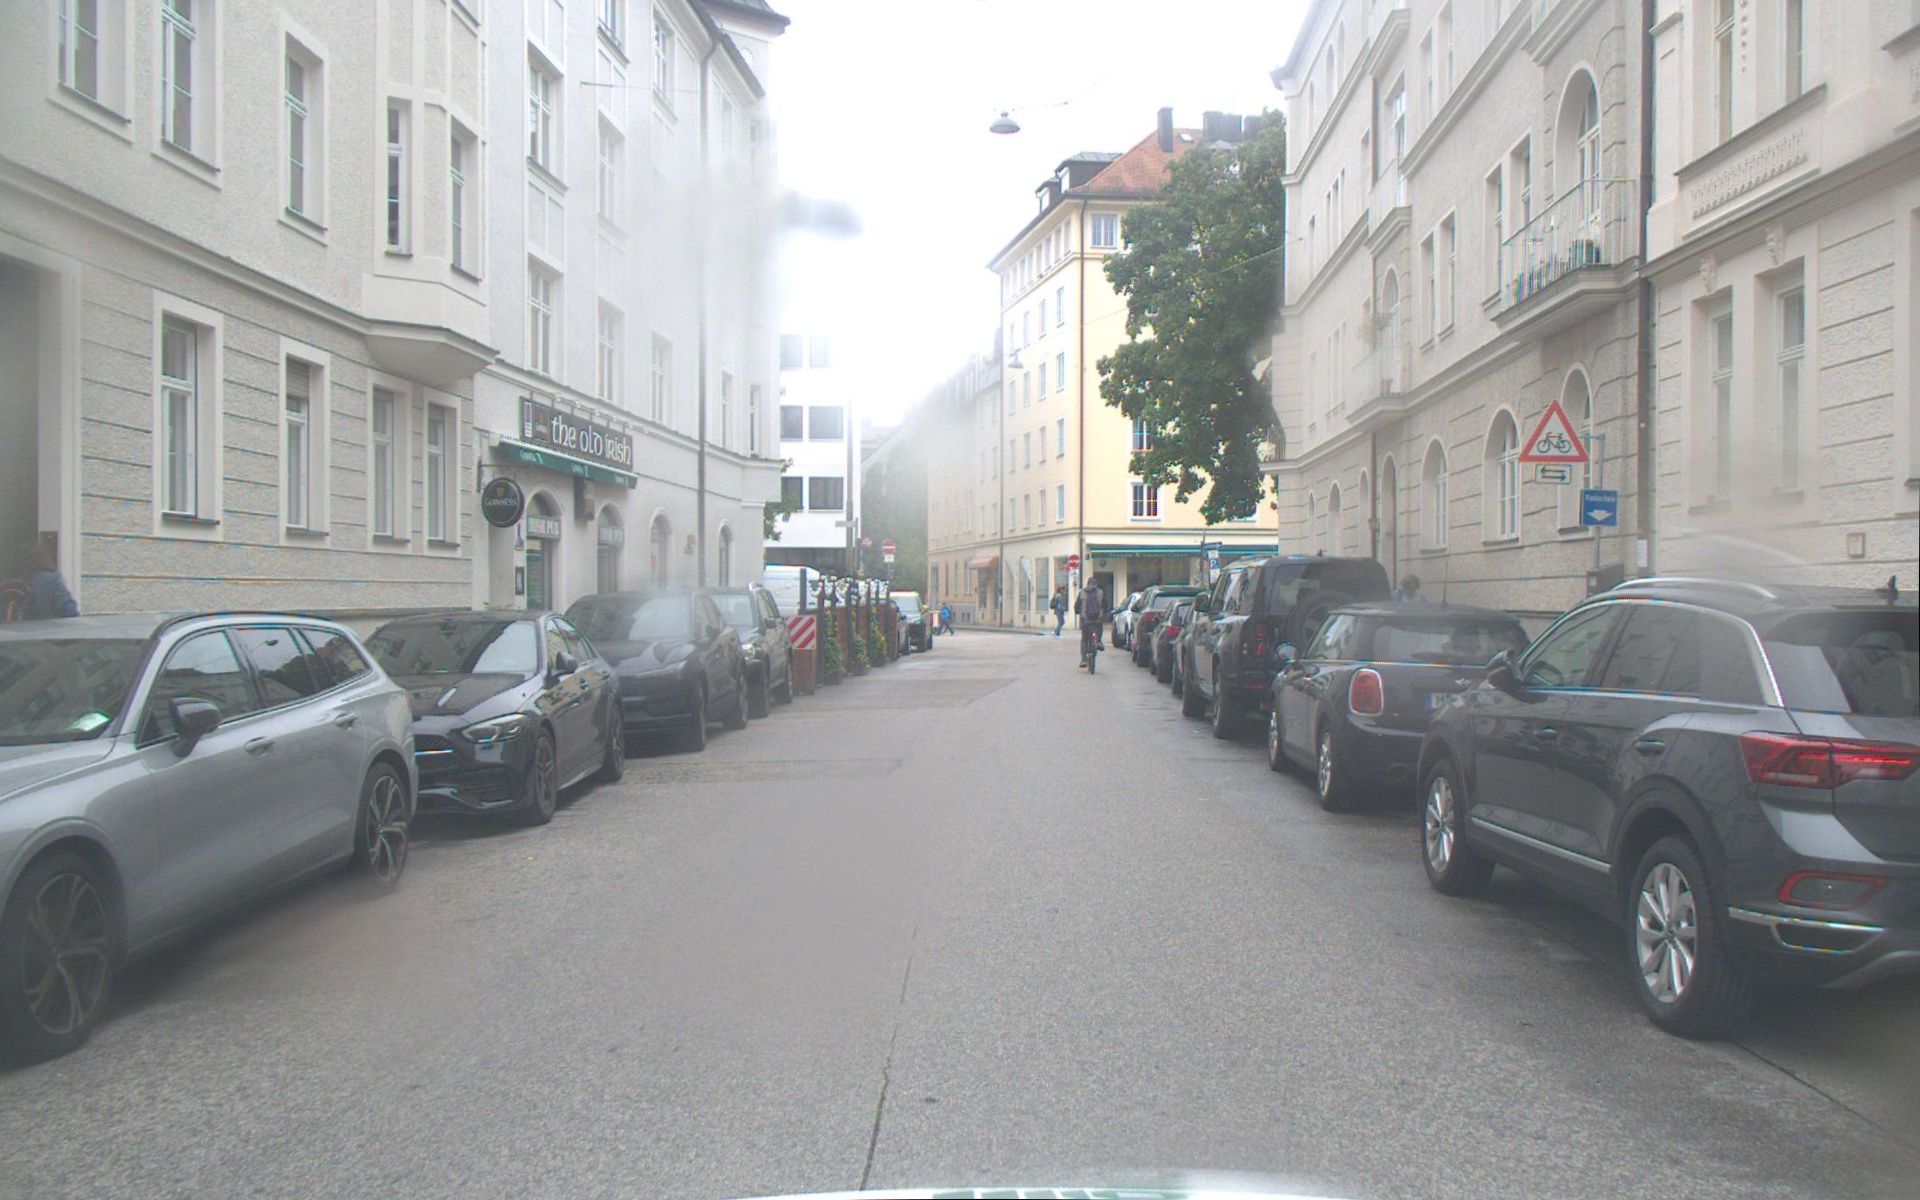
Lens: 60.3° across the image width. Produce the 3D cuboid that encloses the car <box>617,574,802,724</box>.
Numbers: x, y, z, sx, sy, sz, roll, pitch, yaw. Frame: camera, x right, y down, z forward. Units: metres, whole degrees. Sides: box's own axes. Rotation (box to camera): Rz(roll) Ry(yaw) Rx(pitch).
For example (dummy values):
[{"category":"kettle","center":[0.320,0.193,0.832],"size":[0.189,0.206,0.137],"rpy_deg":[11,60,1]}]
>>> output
[{"category":"car","center":[-3.213,0.570,21.993],"size":[1.710,1.702,4.275],"rpy_deg":[-3,1,0]}]

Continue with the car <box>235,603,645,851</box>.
[{"category":"car","center":[-3.599,0.780,12.338],"size":[1.774,1.409,4.441],"rpy_deg":[-2,0,-2]}]

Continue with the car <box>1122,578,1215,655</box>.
[{"category":"car","center":[5.032,0.370,40.333],"size":[1.753,1.743,4.427],"rpy_deg":[-1,0,1]}]

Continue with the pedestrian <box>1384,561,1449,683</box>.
[{"category":"pedestrian","center":[6.562,0.308,23.792],"size":[0.666,1.703,0.654],"rpy_deg":[-3,0,-1]}]

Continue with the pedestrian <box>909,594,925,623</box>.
[{"category":"pedestrian","center":[-2.750,0.539,105.649],"size":[0.861,1.809,0.772],"rpy_deg":[-1,0,-10]}]

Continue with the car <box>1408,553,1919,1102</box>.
[{"category":"car","center":[3.275,0.664,6.899],"size":[1.672,1.615,4.000],"rpy_deg":[1,1,-1]}]

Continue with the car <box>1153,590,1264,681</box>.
[{"category":"car","center":[4.378,0.586,29.655],"size":[1.670,1.496,4.203],"rpy_deg":[0,0,5]}]

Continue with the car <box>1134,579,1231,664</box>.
[{"category":"car","center":[4.675,0.411,35.234],"size":[1.740,1.664,4.377],"rpy_deg":[1,0,4]}]

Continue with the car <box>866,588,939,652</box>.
[{"category":"car","center":[-1.552,0.533,45.764],"size":[1.641,1.625,3.946],"rpy_deg":[-2,0,3]}]

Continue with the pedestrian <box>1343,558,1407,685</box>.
[{"category":"pedestrian","center":[5.873,0.299,23.428],"size":[0.689,1.758,0.703],"rpy_deg":[-1,0,-1]}]

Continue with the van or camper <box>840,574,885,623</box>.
[{"category":"van or camper","center":[-5.344,-0.085,90.150],"size":[1.956,2.584,4.751],"rpy_deg":[-1,0,-9]}]

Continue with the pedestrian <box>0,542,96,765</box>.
[{"category":"pedestrian","center":[-7.407,0.412,13.188],"size":[0.683,1.737,0.665],"rpy_deg":[0,0,-1]}]

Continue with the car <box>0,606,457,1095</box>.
[{"category":"car","center":[-3.746,0.808,6.913],"size":[1.757,1.444,4.511],"rpy_deg":[-3,0,1]}]

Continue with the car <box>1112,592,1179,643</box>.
[{"category":"car","center":[5.568,0.493,50.020],"size":[1.634,1.460,4.214],"rpy_deg":[0,0,1]}]

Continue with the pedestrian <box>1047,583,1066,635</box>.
[{"category":"pedestrian","center":[3.175,0.293,54.443],"size":[0.598,1.690,0.551],"rpy_deg":[0,0,6]}]

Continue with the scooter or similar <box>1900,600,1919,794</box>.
[{"category":"scooter or similar","center":[6.660,0.653,10.623],"size":[0.529,1.310,1.505],"rpy_deg":[-3,0,9]}]

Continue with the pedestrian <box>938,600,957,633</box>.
[{"category":"pedestrian","center":[-0.509,0.674,67.013],"size":[0.684,1.292,0.651],"rpy_deg":[-1,0,6]}]

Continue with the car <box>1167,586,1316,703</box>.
[{"category":"car","center":[3.991,0.577,23.950],"size":[1.620,1.552,3.638],"rpy_deg":[0,1,2]}]

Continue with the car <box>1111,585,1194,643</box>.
[{"category":"car","center":[5.254,0.353,45.532],"size":[1.715,1.522,3.908],"rpy_deg":[0,0,-2]}]

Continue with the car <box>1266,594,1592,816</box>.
[{"category":"car","center":[3.418,0.685,12.693],"size":[1.629,1.420,3.583],"rpy_deg":[1,0,3]}]

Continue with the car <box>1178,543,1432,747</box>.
[{"category":"car","center":[3.660,0.423,18.390],"size":[1.871,1.918,4.715],"rpy_deg":[2,0,1]}]

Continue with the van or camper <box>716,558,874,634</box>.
[{"category":"van or camper","center":[-6.174,-0.130,62.093],"size":[5.792,2.724,1.870],"rpy_deg":[-1,-2,-7]}]

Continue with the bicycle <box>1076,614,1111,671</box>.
[{"category":"bicycle","center":[2.531,0.797,31.321],"size":[0.626,1.022,1.575],"rpy_deg":[-1,0,5]}]

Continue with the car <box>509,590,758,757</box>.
[{"category":"car","center":[-3.246,0.661,17.229],"size":[1.706,1.513,4.181],"rpy_deg":[0,0,1]}]

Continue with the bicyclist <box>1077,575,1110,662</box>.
[{"category":"bicyclist","center":[2.529,0.344,31.378],"size":[0.593,1.635,0.758],"rpy_deg":[-1,0,5]}]
